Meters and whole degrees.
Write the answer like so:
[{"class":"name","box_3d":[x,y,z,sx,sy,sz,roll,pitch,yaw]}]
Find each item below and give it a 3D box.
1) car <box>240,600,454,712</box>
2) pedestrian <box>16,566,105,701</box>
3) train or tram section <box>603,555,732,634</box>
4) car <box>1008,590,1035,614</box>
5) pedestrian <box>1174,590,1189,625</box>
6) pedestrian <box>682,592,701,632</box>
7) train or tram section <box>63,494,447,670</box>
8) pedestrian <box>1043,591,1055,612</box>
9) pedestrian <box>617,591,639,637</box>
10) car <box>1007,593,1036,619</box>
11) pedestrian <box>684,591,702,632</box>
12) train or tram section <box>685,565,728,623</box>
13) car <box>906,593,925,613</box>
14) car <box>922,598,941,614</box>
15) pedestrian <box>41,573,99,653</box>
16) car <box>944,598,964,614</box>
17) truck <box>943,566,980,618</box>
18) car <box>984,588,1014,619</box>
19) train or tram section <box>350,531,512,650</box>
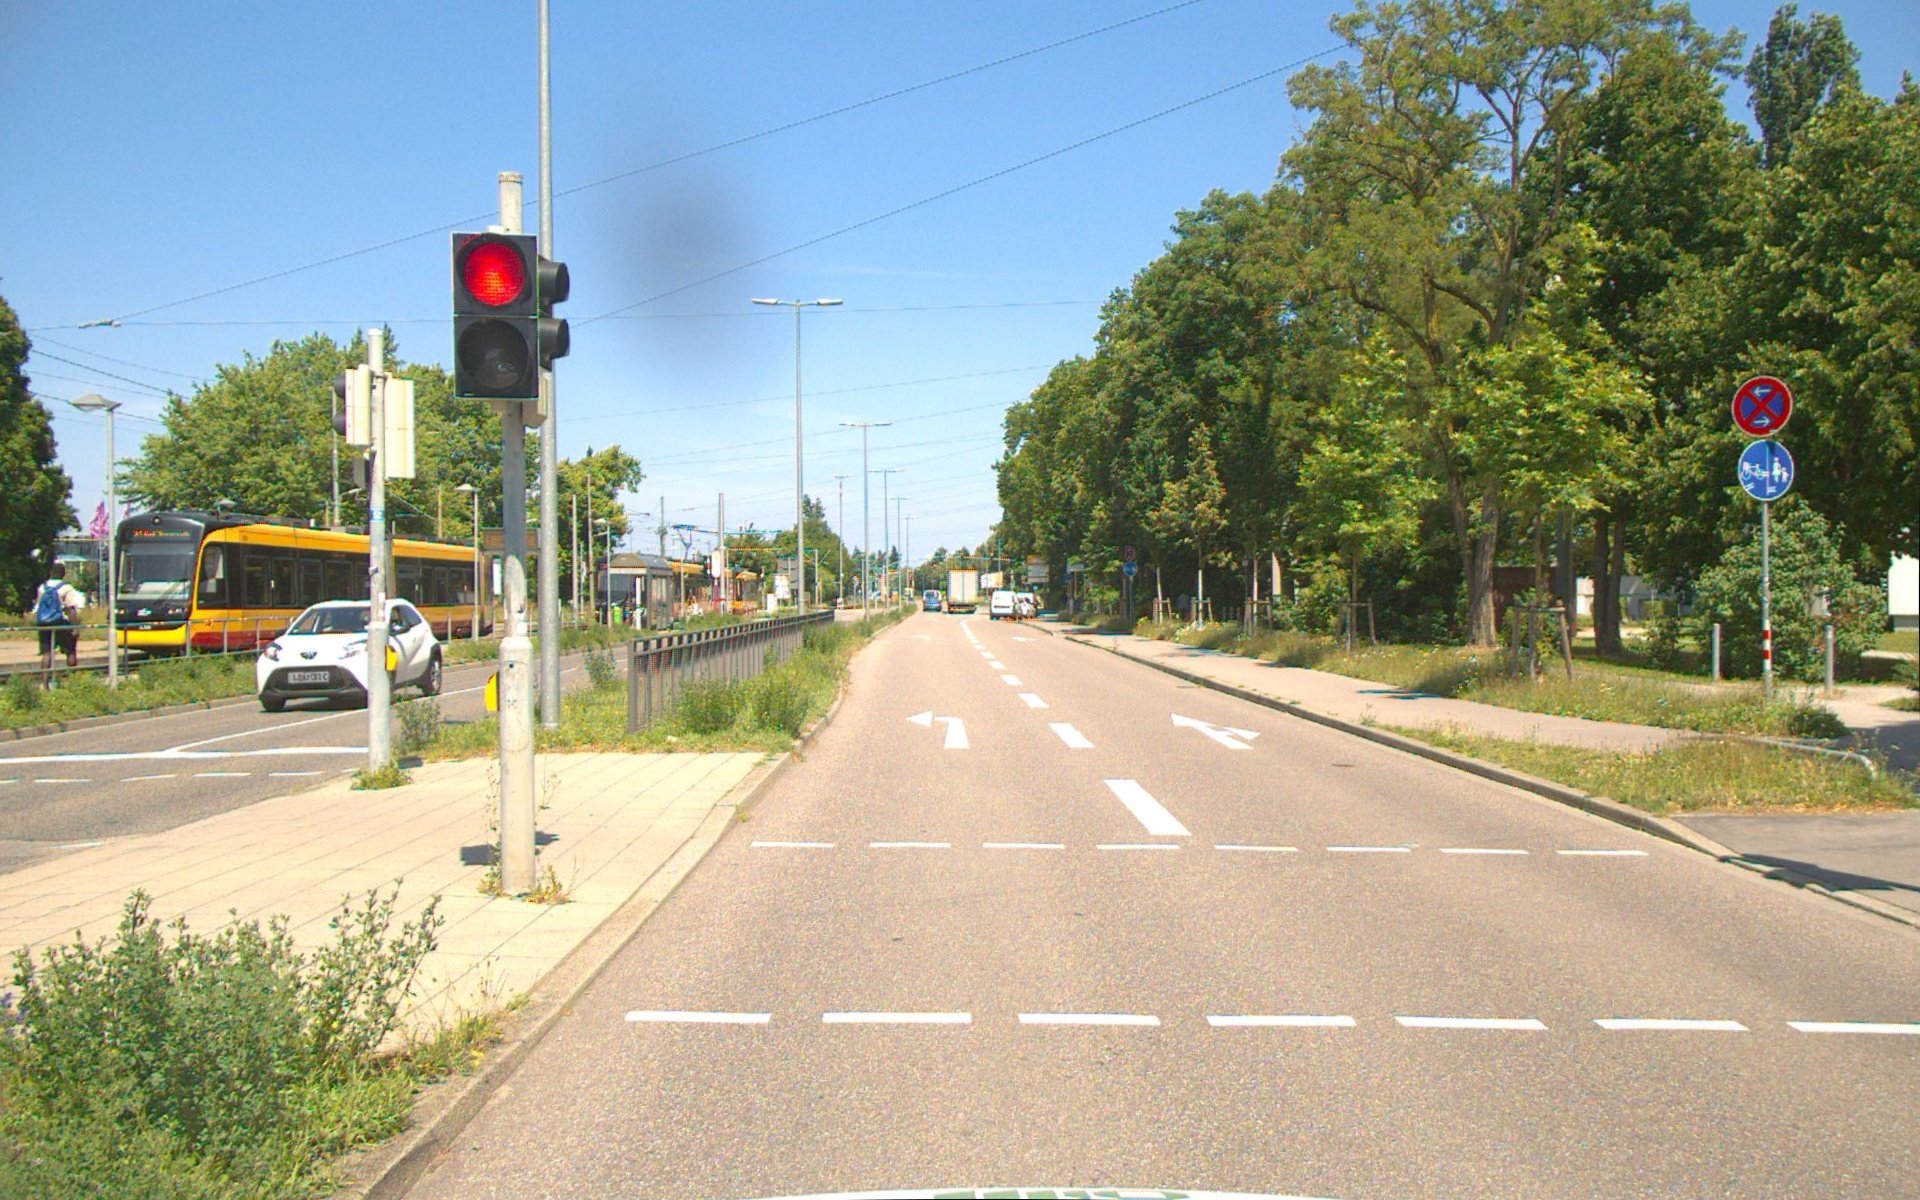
[{"class":"car","box_3d":[-8.959,0.764,24.512,1.807,1.521,3.790,0,0,-1]},{"class":"pedestrian","box_3d":[-12.688,0.459,23.345,0.703,1.808,0.842,4,2,-1]},{"class":"train or tram section","box_3d":[-16.364,-0.331,95.737,2.898,3.815,30.023,0,0,-2]},{"class":"car","box_3d":[4.403,0.122,118.852,1.743,1.698,3.999,0,0,-1]},{"class":"pedestrian","box_3d":[9.369,0.325,70.029,0.591,1.463,0.556,0,0,6]},{"class":"pedestrian","box_3d":[-13.744,0.592,84.726,0.798,2.049,0.938,0,0,-1]},{"class":"train or tram section","box_3d":[-18.959,-0.443,46.992,3.150,4.000,18.498,0,0,0]},{"class":"pedestrian","box_3d":[8.818,0.178,163.916,1.161,2.049,1.213,0,0,-1]},{"class":"pedestrian","box_3d":[-13.850,0.593,69.078,0.769,1.901,0.817,0,0,-1]},{"class":"car","box_3d":[4.180,0.402,112.460,1.743,1.698,3.999,0,0,-1]},{"class":"pedestrian","box_3d":[-13.467,0.591,83.436,0.798,2.049,0.938,0,0,-1]},{"class":"train or tram section","box_3d":[-19.278,-0.470,126.808,2.876,3.856,33.024,0,0,-8]},{"class":"car","box_3d":[-4.703,0.339,175.086,1.953,2.049,3.999,0,0,-1]},{"class":"car","box_3d":[-2.689,0.527,157.833,1.774,1.490,3.999,0,0,-1]},{"class":"pedestrian","box_3d":[-22.999,0.331,42.766,0.961,2.049,1.021,0,0,-1]},{"class":"car","box_3d":[-0.594,0.568,153.597,1.774,1.490,3.999,0,0,-1]},{"class":"truck","box_3d":[0.067,-0.725,146.063,3.140,4.435,6.559,0,0,-1]},{"class":"car","box_3d":[2.452,0.224,105.547,1.743,1.937,3.999,0,0,-1]},{"class":"train or tram section","box_3d":[-20.353,-0.352,65.098,3.156,4.000,18.463,0,0,-9]}]
